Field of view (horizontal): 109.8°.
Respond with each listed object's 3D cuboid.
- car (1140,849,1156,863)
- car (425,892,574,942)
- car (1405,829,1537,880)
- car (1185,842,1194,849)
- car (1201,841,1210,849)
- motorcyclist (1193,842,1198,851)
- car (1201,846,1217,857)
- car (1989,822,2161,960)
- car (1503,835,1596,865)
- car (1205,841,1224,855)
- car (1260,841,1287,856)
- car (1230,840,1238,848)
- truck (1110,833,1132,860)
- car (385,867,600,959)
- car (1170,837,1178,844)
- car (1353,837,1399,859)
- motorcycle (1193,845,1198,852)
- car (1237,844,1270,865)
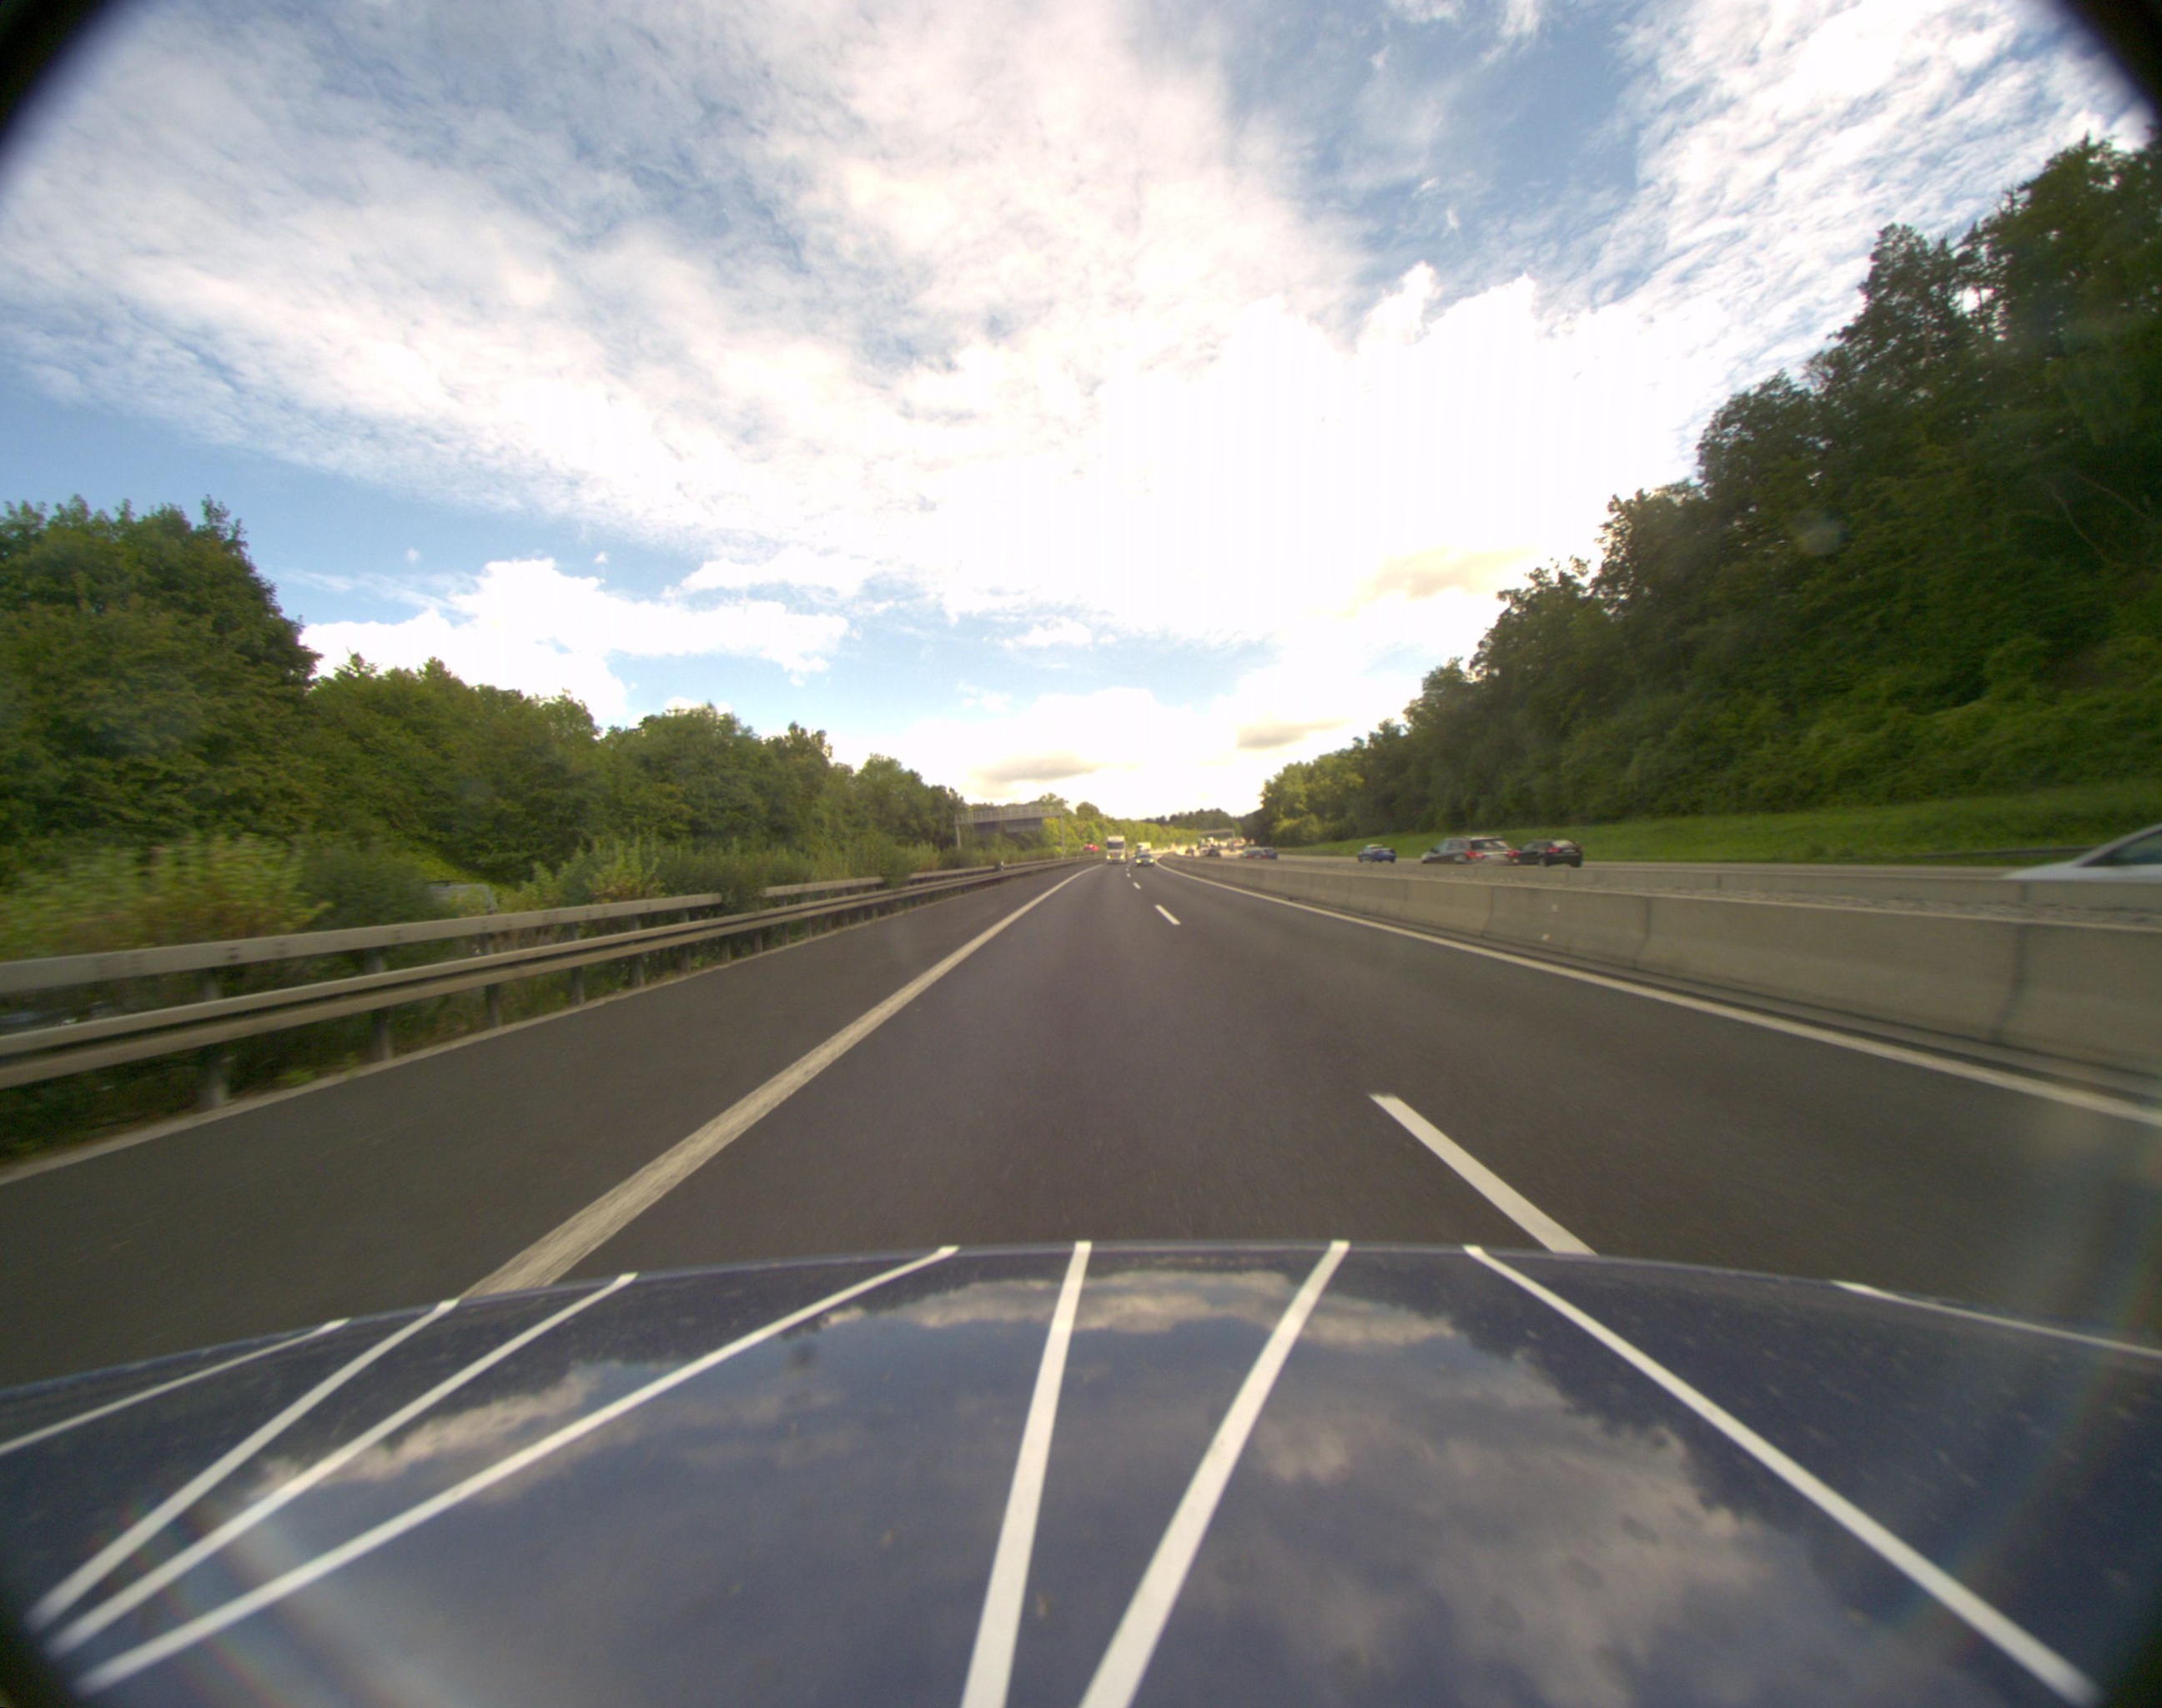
[{"bbox_3d":[7.415,0.200,84.048,1.662,1.464,4.001,-3,1,7],"label":"car"},{"bbox_3d":[-23.333,2.475,30.783,1.770,1.501,4.873,-2,1,8],"label":"car"},{"bbox_3d":[13.480,-0.009,26.687,1.998,1.527,5.285,-2,0,2],"label":"car"},{"bbox_3d":[27.341,-2.188,191.459,1.998,1.618,4.778,-2,1,5],"label":"car"},{"bbox_3d":[35.019,-2.444,213.120,2.205,2.118,8.080,-2,1,8],"label":"car"},{"bbox_3d":[22.484,-1.454,149.472,0.897,1.624,0.922,-2,1,9],"label":"motorcyclist"},{"bbox_3d":[18.800,-0.370,111.807,1.764,1.452,4.296,-2,0,4],"label":"car"},{"bbox_3d":[12.217,0.370,7.630,1.569,1.441,3.888,-2,0,1],"label":"car"},{"bbox_3d":[22.548,-0.184,36.787,1.827,1.304,4.186,-2,0,-1],"label":"car"},{"bbox_3d":[16.585,-0.770,94.599,1.880,1.688,4.315,-2,0,4],"label":"car"},{"bbox_3d":[20.893,-0.583,82.599,1.998,1.530,4.740,-2,0,4],"label":"car"},{"bbox_3d":[42.184,-2.740,209.566,1.997,2.022,4.002,-2,0,8],"label":"car"},{"bbox_3d":[5.991,-1.180,112.368,2.795,3.562,11.460,-2,1,5],"label":"truck"},{"bbox_3d":[-15.603,1.454,20.595,1.999,2.002,4.908,-3,1,-2],"label":"car"},{"bbox_3d":[26.331,-3.779,215.172,1.997,2.022,4.002,-2,0,8],"label":"car"},{"bbox_3d":[22.784,-0.448,58.815,1.809,1.565,4.558,-2,0,1],"label":"car"},{"bbox_3d":[22.508,-1.106,149.501,0.924,1.181,2.640,-2,1,9],"label":"motorcycle"},{"bbox_3d":[14.030,0.022,61.996,1.703,1.530,4.501,-2,0,2],"label":"car"}]
